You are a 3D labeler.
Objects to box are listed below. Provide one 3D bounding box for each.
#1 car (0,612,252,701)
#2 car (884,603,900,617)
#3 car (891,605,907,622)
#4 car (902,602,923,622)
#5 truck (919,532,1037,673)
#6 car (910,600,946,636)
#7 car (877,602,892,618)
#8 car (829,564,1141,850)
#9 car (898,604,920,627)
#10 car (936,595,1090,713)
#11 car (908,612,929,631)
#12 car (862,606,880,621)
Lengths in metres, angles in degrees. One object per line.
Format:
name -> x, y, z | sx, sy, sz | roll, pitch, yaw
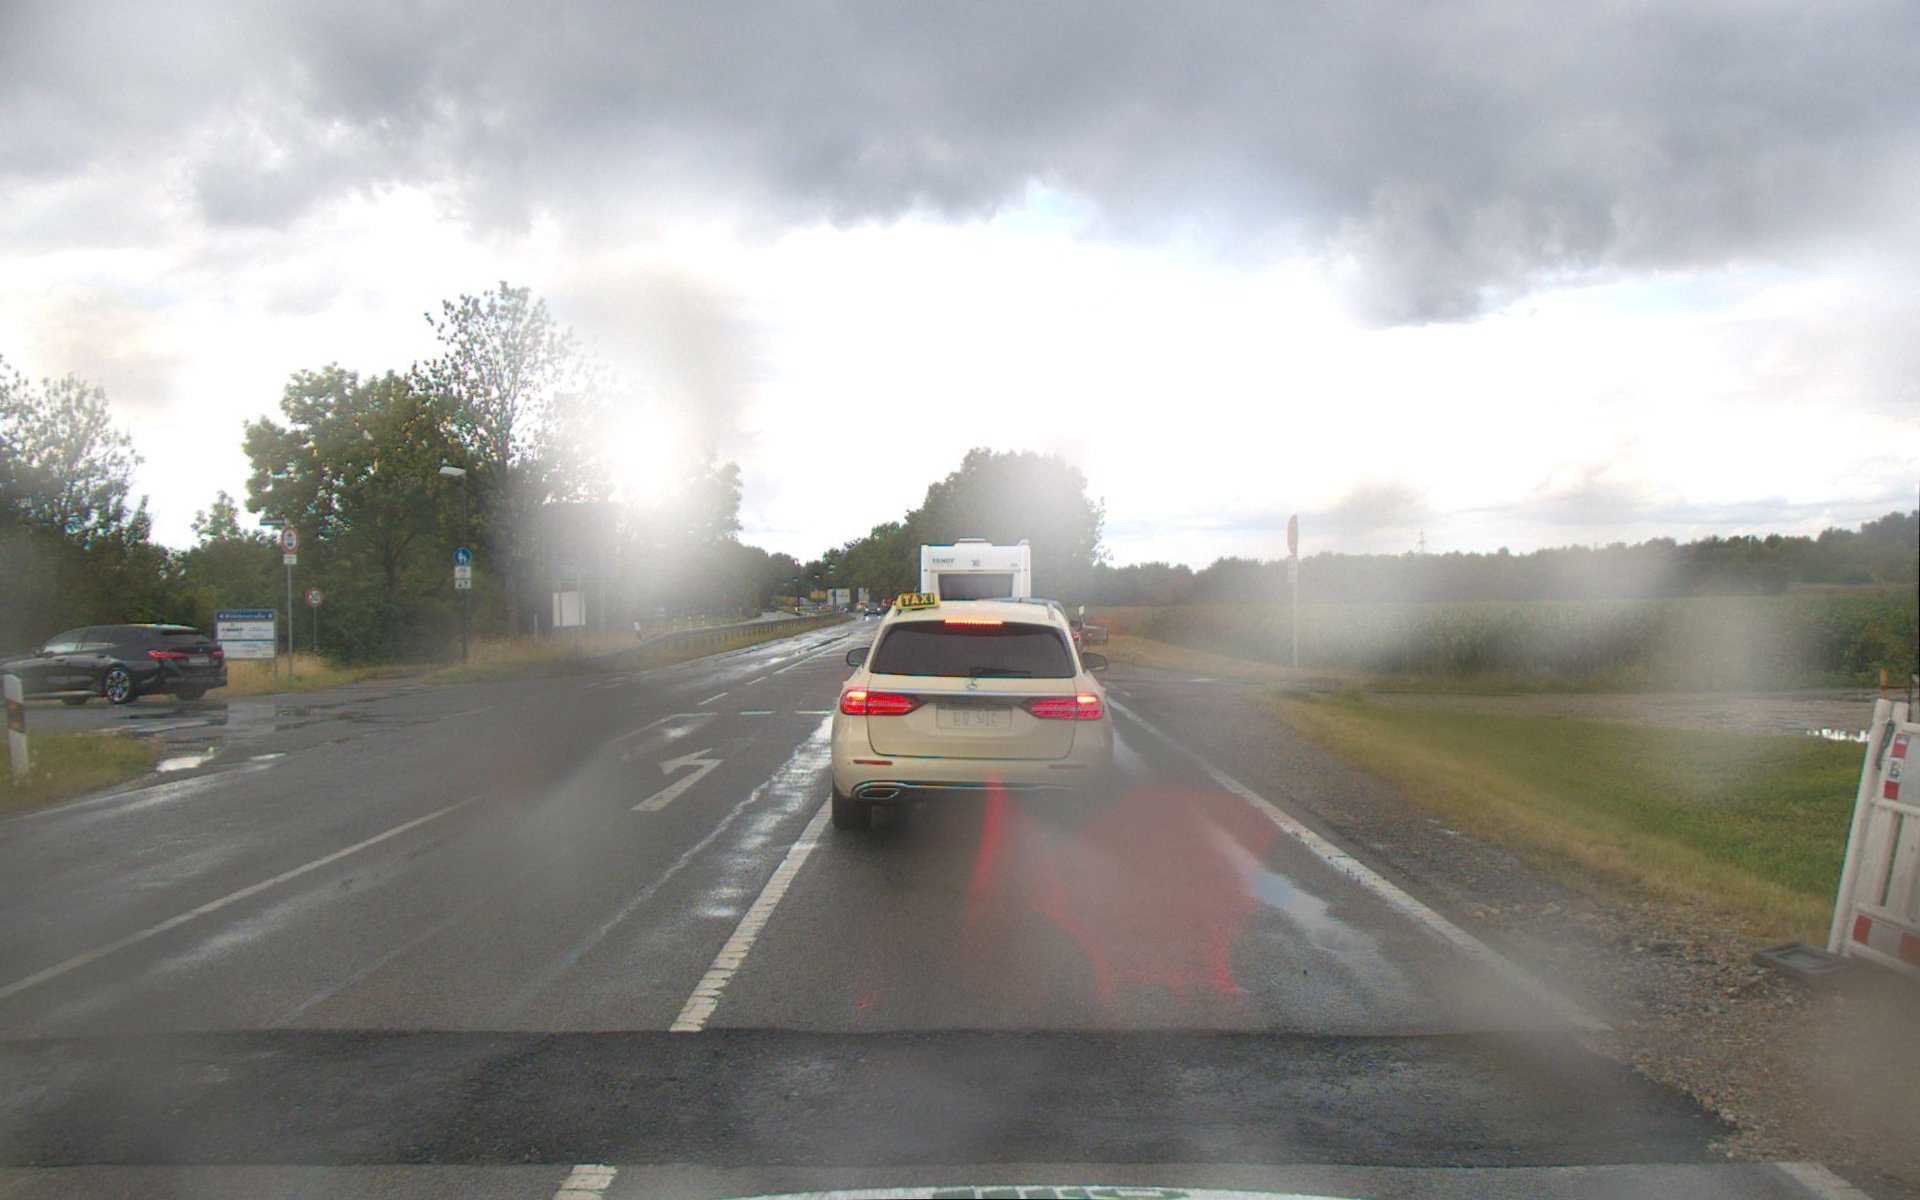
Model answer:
car -> -16.408, 1.080, 31.943 | 4.518, 1.574, 2.311 | -2, -1, 12
car -> -8.318, 1.227, 203.279 | 1.715, 1.691, 3.668 | -1, 0, -6
car -> -6.966, 1.572, 189.071 | 1.705, 1.892, 3.784 | -1, 0, -1
car -> -4.313, 1.082, 151.558 | 1.841, 1.792, 3.833 | -1, 0, -1
truck -> 0.314, 0.047, 36.645 | 2.315, 2.776, 7.312 | -1, 0, -1
car -> -1.726, 0.952, 89.604 | 1.876, 1.873, 3.795 | -1, 0, -1
car -> -9.766, 1.267, 213.555 | 1.858, 1.928, 3.840 | -1, 0, -4
car -> 0.120, 0.629, 11.609 | 1.805, 1.646, 3.999 | 0, 0, -1
car -> -4.136, 1.253, 134.675 | 1.755, 1.808, 3.720 | -1, 0, -1
car -> 0.657, 0.705, 23.294 | 1.953, 1.488, 3.999 | 1, 0, -1
car -> -4.104, 2.119, 162.974 | 1.953, 1.803, 3.998 | -1, 0, -2
car -> -10.062, 1.500, 186.809 | 1.791, 1.601, 3.999 | 1, 0, 0
